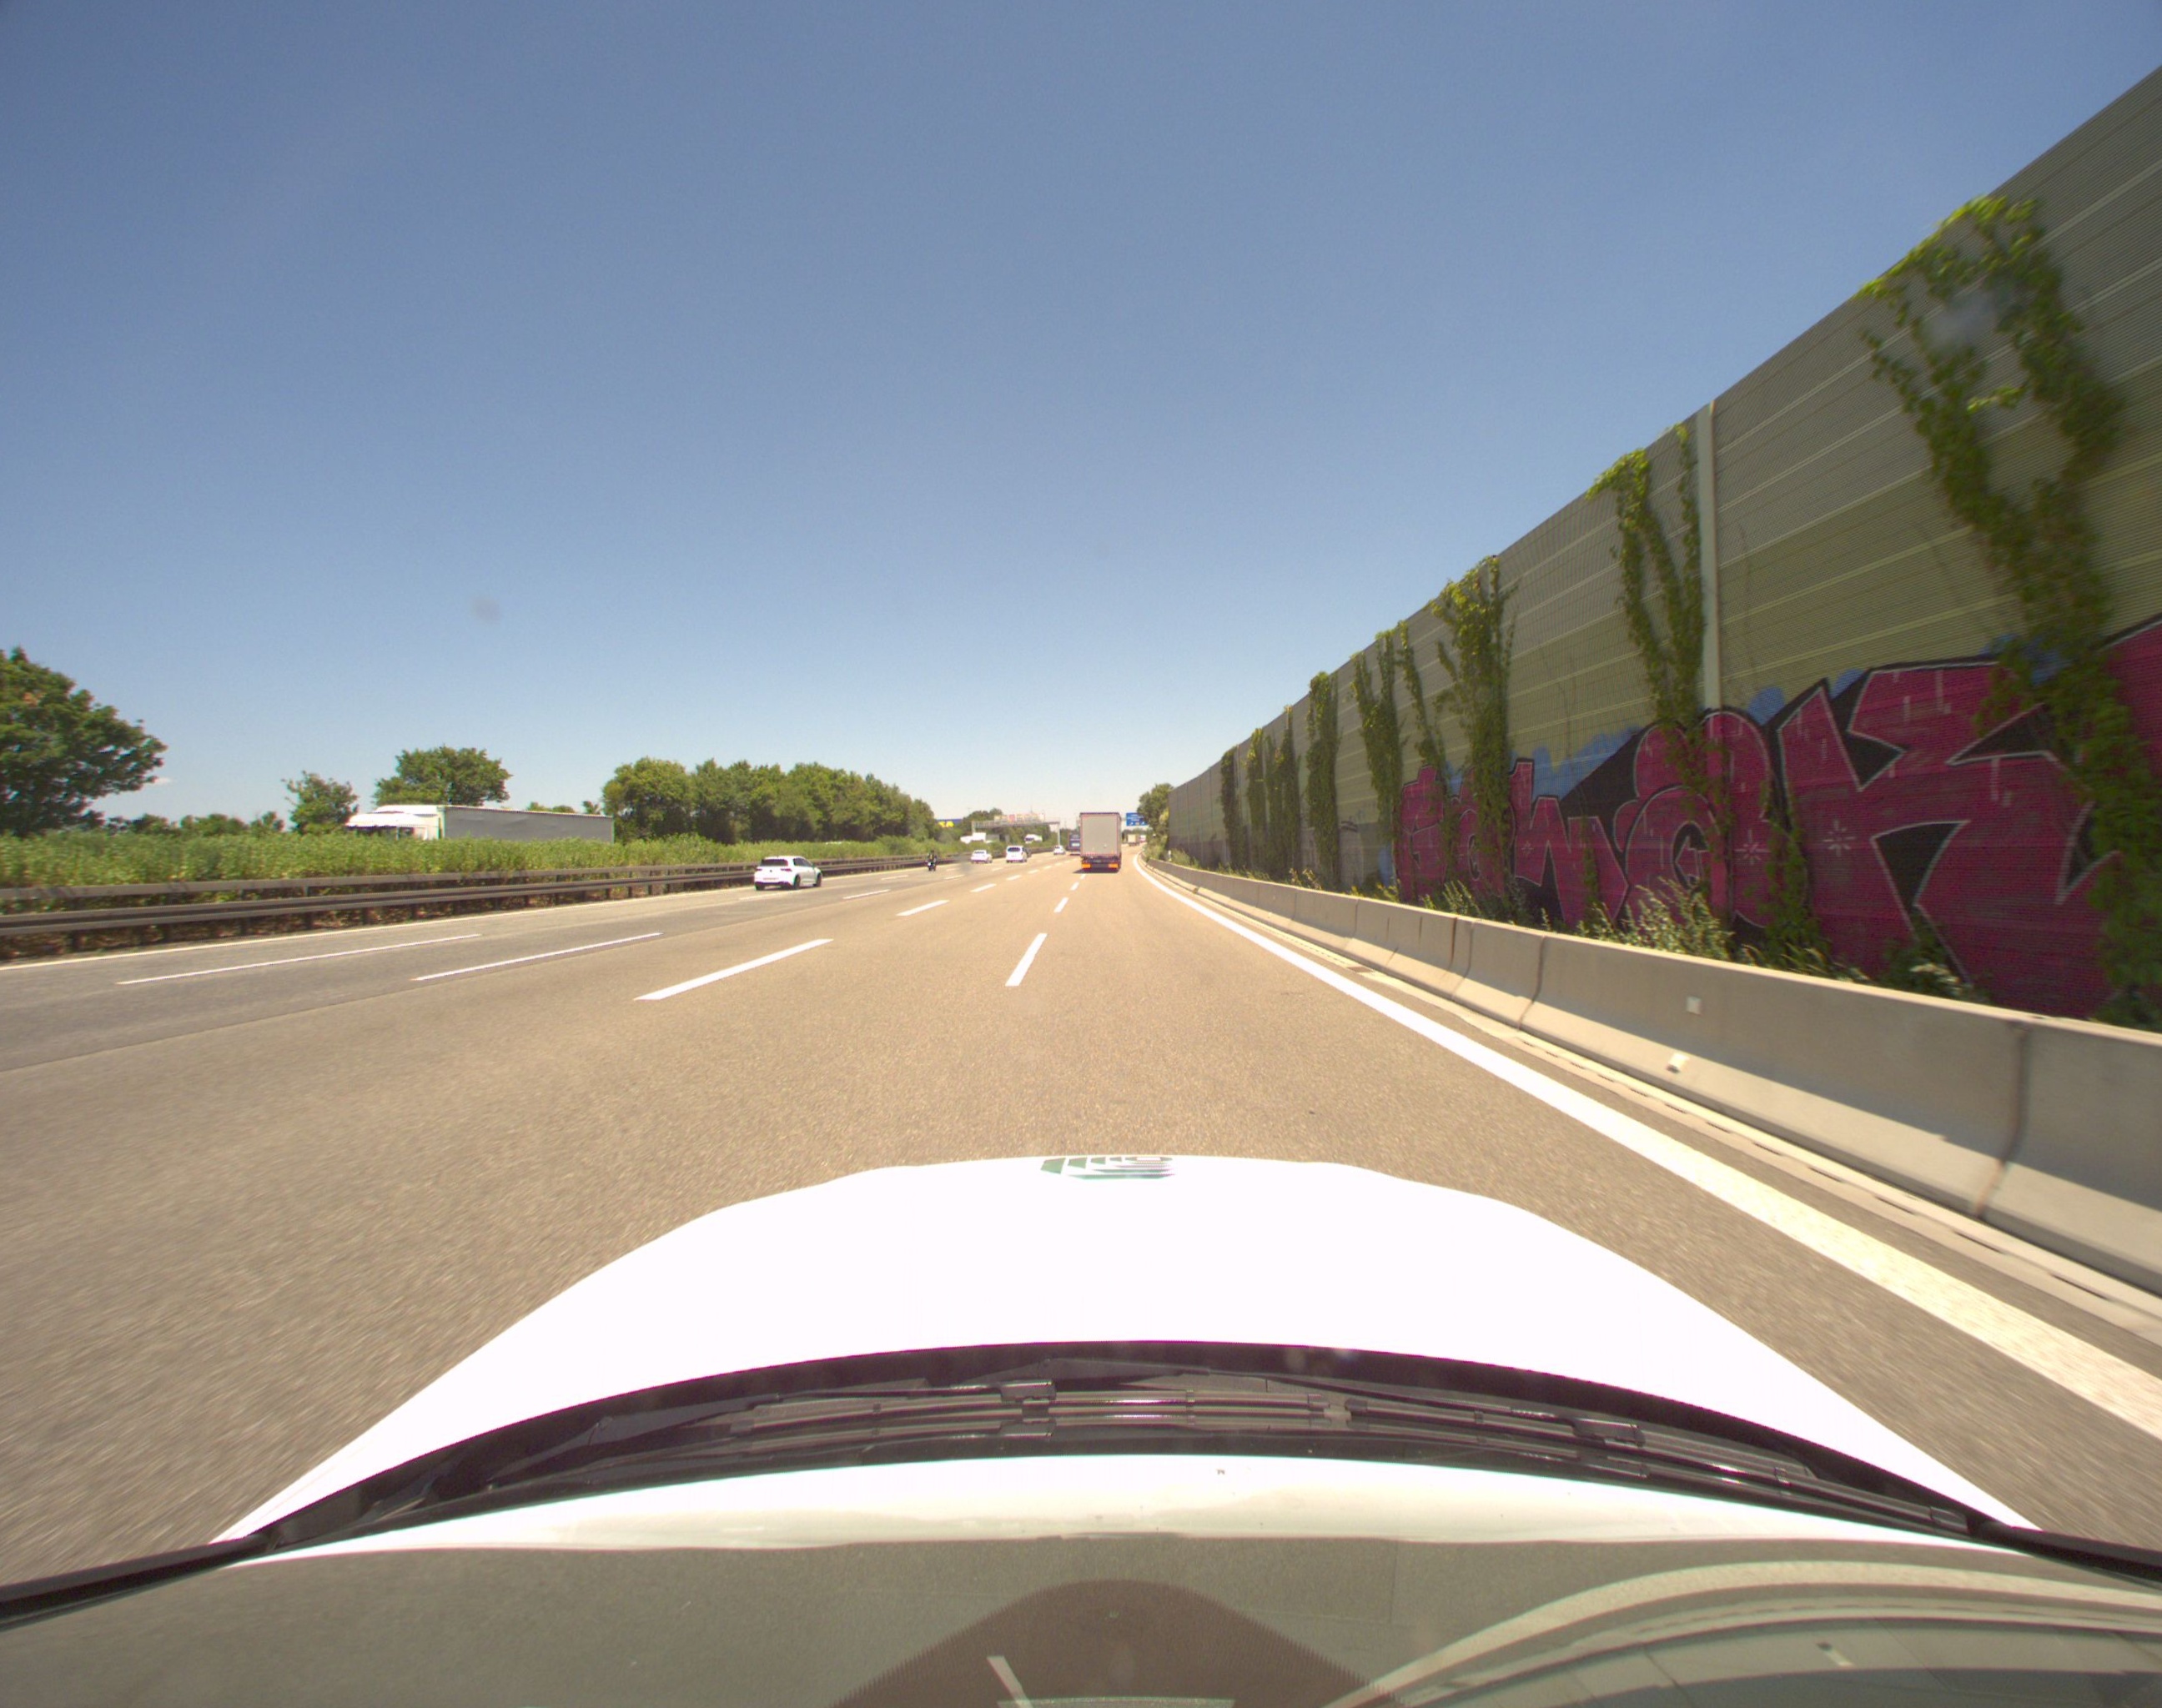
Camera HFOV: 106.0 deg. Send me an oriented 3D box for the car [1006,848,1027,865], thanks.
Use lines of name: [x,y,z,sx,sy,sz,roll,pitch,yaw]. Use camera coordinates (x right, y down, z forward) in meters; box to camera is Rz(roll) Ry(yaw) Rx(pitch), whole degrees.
car: [-7.285,0.253,92.546,1.924,1.851,4.692,-2,0,0]

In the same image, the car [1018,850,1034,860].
car: [-8.126,0.183,121.097,1.749,1.409,5.044,-2,-1,3]

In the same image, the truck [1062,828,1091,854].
truck: [-0.607,-2.297,142.191,3.729,4.270,14.516,0,1,5]

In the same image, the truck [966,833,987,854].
truck: [-21.213,-2.081,165.741,3.319,4.089,4.832,-1,0,3]

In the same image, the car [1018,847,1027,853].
car: [-17.250,-1.136,238.510,1.896,1.717,4.636,-2,-1,4]

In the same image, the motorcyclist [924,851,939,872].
motorcyclist: [-11.432,0.568,62.212,0.890,1.597,1.299,-1,-1,1]

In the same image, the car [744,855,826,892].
car: [-12.881,0.806,35.727,1.775,1.440,4.670,-1,0,1]

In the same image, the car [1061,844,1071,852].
car: [-3.403,-1.347,187.510,1.896,1.717,4.636,-2,-1,4]

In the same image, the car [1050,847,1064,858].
car: [-4.278,-0.327,145.141,1.896,1.851,4.636,-2,1,3]

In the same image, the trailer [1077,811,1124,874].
trailer: [1.421,-0.861,58.668,2.917,4.015,12.044,-2,1,2]

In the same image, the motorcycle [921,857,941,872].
motorcycle: [-11.429,0.817,62.230,0.909,1.089,2.850,-1,0,1]

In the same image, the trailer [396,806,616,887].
trailer: [-32.122,-0.403,46.805,2.528,3.947,13.726,-1,0,2]

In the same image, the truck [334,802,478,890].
truck: [-32.325,-0.380,39.285,2.528,3.947,5.168,-1,0,1]

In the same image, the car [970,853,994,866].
car: [-10.823,0.617,89.245,1.869,1.440,5.127,-1,-1,1]
